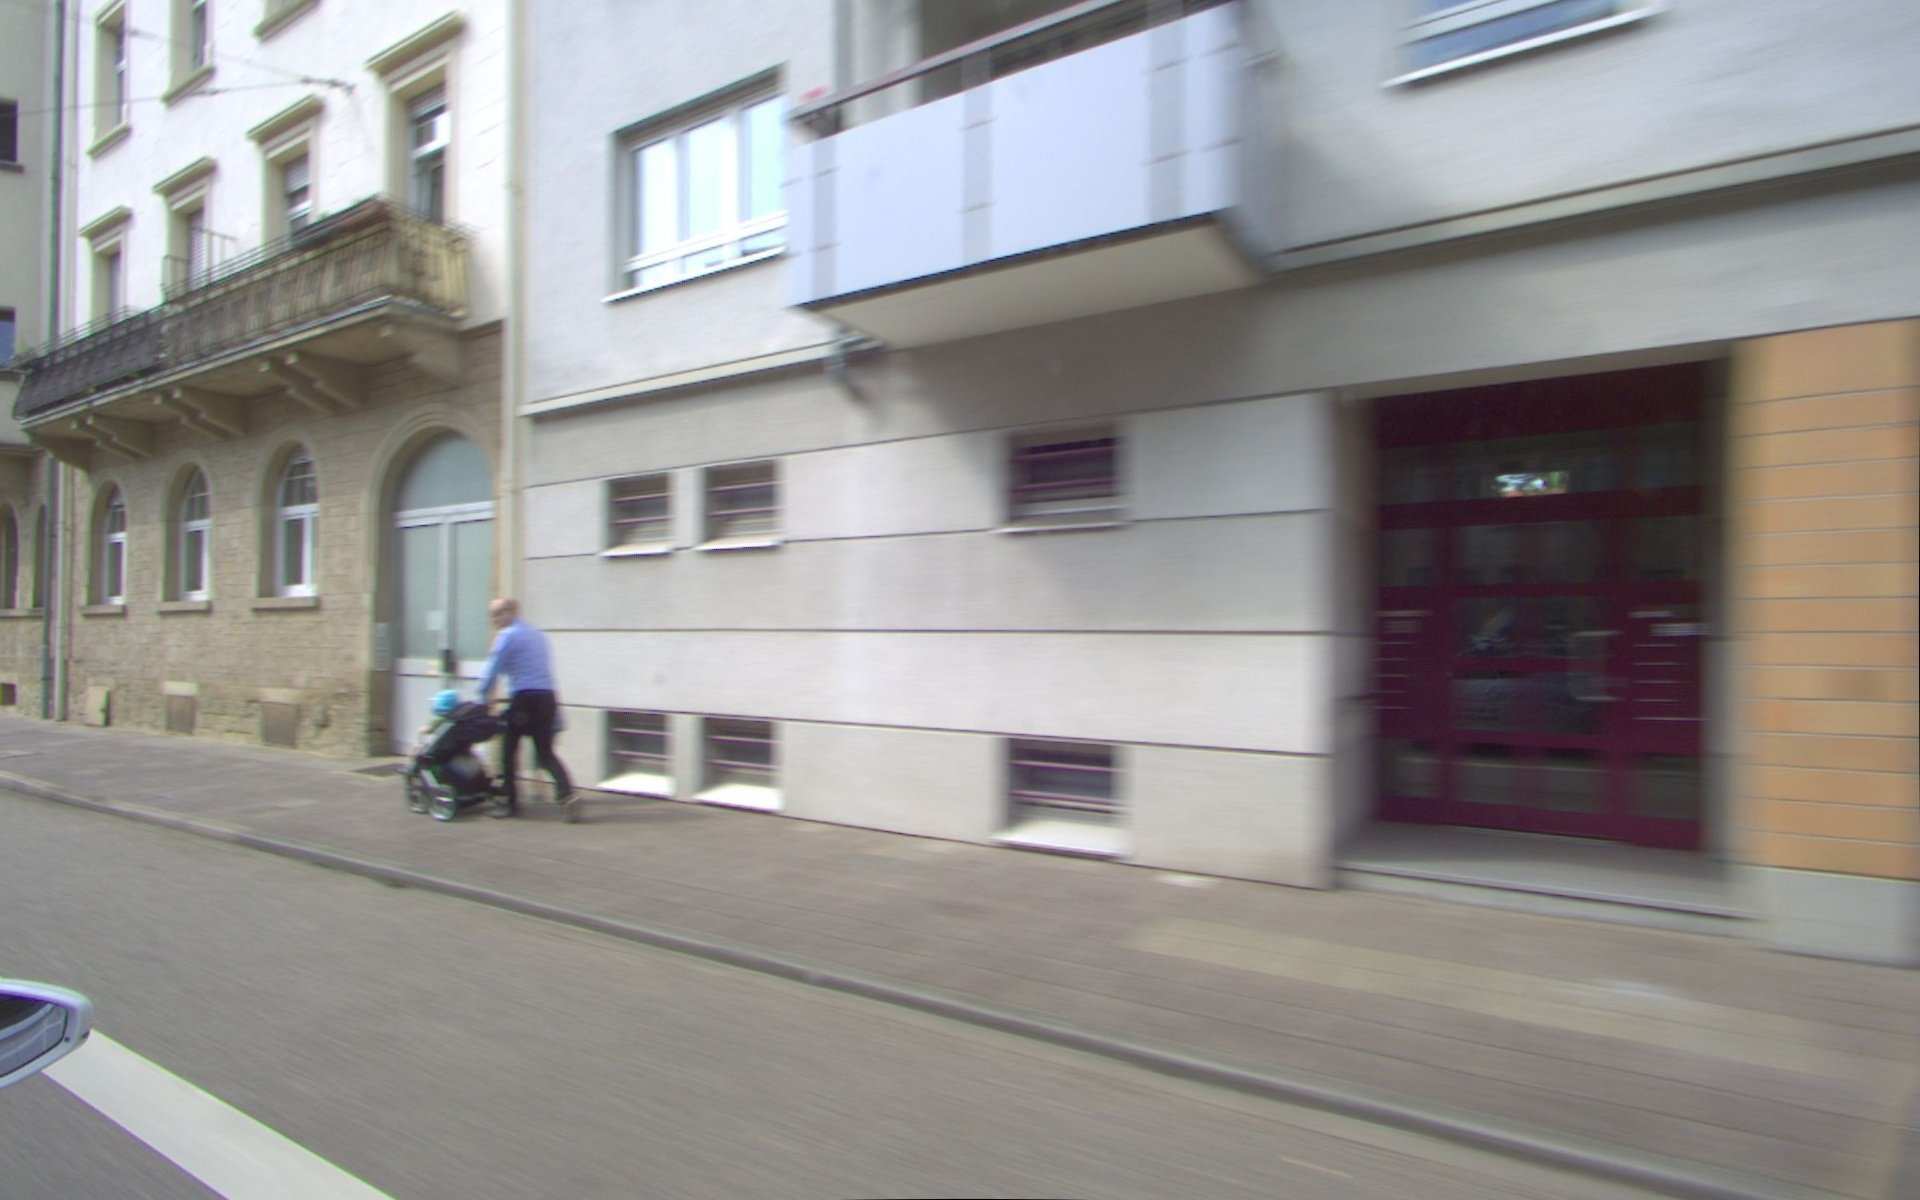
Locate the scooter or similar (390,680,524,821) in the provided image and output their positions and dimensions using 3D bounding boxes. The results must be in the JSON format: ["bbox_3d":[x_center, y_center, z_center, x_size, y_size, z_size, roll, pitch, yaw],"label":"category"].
[{"bbox_3d":[-4.162,1.214,8.283,0.893,1.016,0.590,0,2,34],"label":"scooter or similar"}]

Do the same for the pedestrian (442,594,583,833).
[{"bbox_3d":[-3.512,0.839,7.867,0.865,1.762,0.619,0,1,34],"label":"pedestrian"}]

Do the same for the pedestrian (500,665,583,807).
[{"bbox_3d":[-3.590,1.147,8.604,0.487,1.149,0.455,0,-1,34],"label":"pedestrian"}]
